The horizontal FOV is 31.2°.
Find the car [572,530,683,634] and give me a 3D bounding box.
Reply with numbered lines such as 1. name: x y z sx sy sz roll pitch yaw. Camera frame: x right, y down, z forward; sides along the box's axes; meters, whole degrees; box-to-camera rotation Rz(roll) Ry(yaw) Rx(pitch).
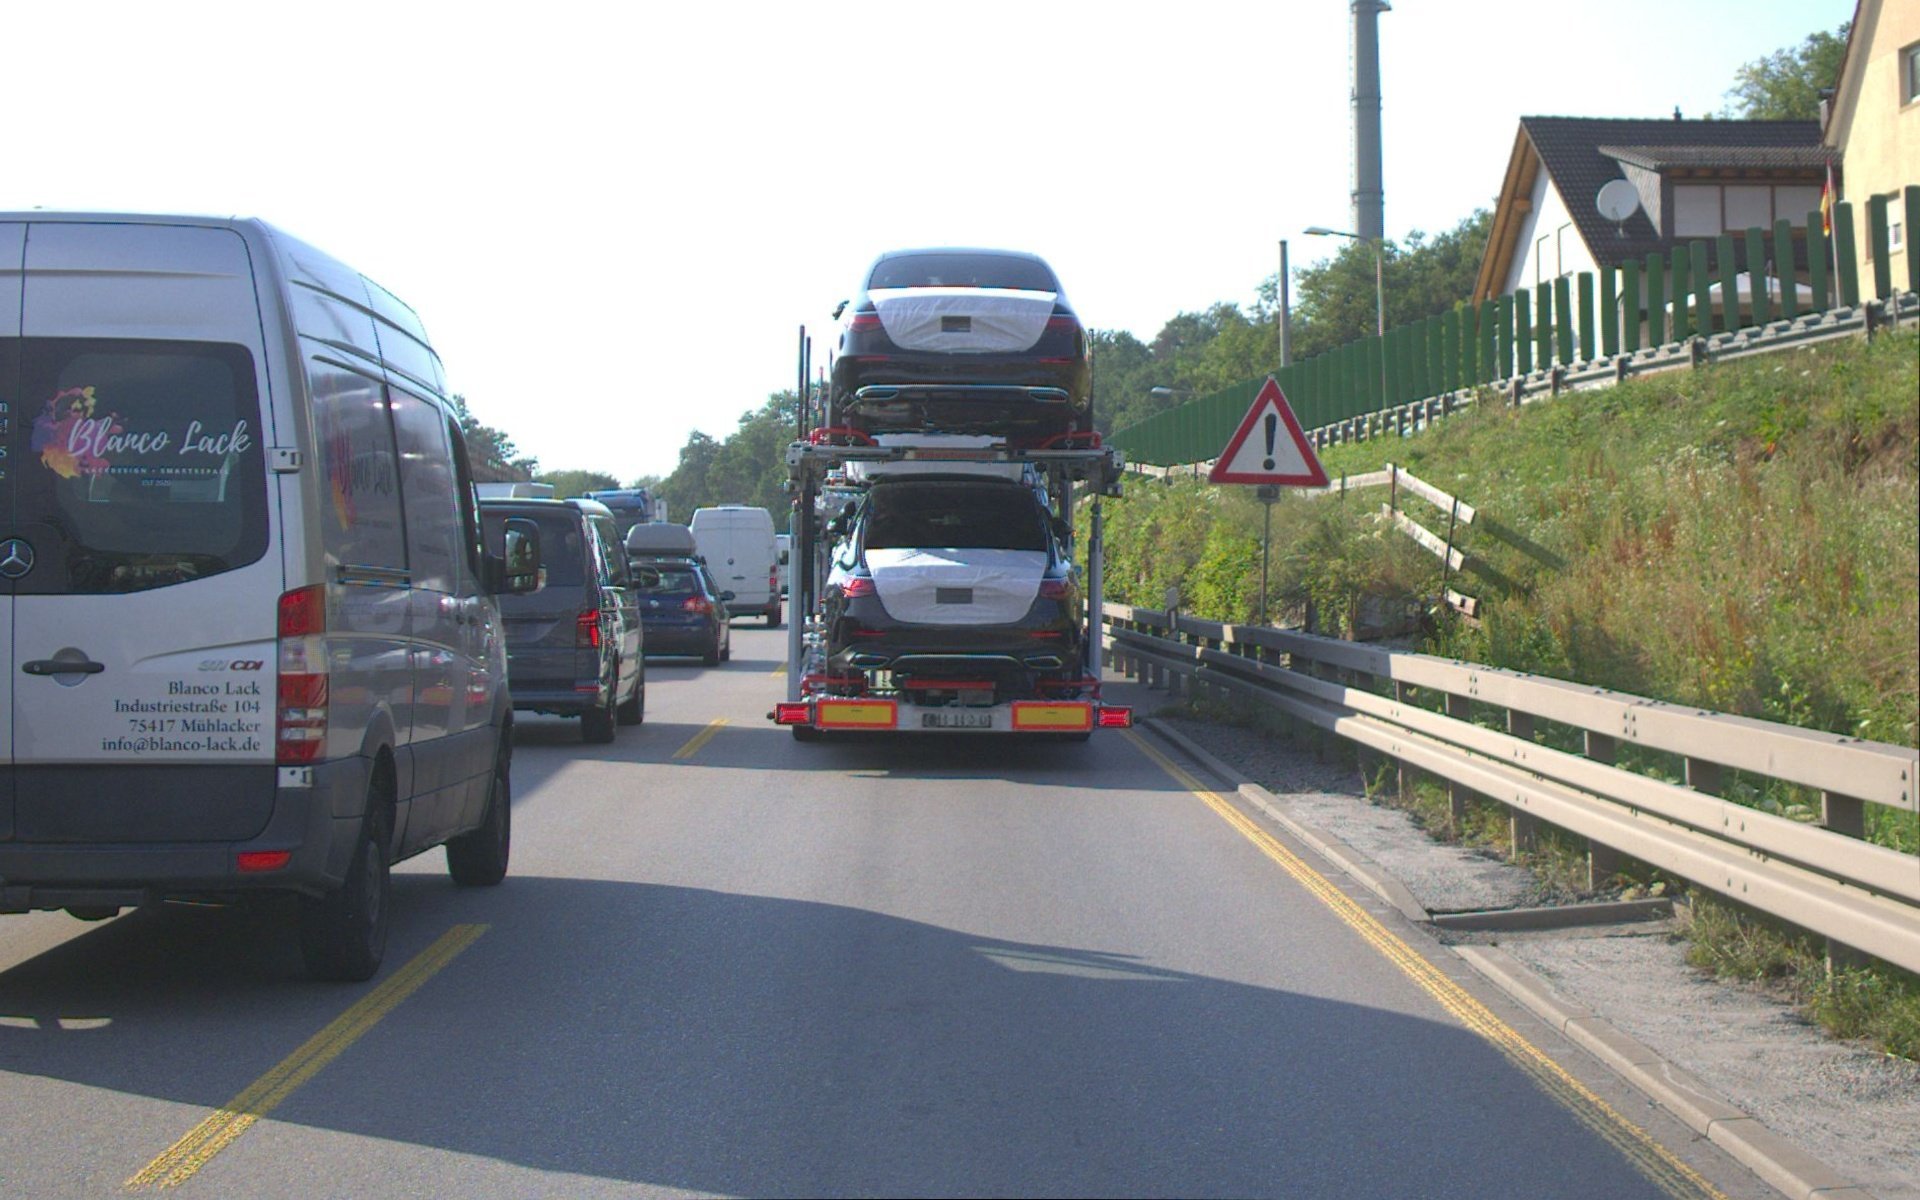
1. car: -8.227 -0.444 85.400 2.471 2.525 4.000 0 0 -1

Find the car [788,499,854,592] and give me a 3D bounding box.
1. car: -7.743 -3.000 190.368 3.444 5.018 9.654 1 1 -3

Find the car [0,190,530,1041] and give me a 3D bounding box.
1. car: -3.000 0.008 13.466 1.993 2.639 5.531 -1 1 -1

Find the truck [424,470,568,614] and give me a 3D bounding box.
1. truck: -11.859 -1.425 88.420 2.714 3.413 8.141 -2 0 -2

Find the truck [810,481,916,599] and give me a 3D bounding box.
1. truck: -3.890 -2.429 140.513 4.065 4.663 10.592 0 1 0

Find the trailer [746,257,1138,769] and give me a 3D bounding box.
1. trailer: -0.209 -0.622 31.504 2.682 3.523 15.289 1 0 -1

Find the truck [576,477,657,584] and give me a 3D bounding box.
1. truck: -13.929 -2.804 139.992 2.624 4.098 9.629 -3 1 -3

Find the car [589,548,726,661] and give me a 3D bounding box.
1. car: -4.252 0.032 48.774 1.725 1.517 3.974 1 1 -2

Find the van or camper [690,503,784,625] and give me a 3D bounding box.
1. van or camper: -4.876 -0.768 75.709 1.968 2.583 5.042 1 0 -3

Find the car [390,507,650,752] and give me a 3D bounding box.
1. car: -3.626 0.241 28.904 1.808 1.897 4.000 1 0 -2

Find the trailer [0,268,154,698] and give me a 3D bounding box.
1. trailer: -10.598 -1.128 32.772 2.764 4.127 14.026 1 1 -1

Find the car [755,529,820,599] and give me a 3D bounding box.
1. car: -5.254 -1.115 105.215 1.885 2.093 3.766 0 1 -1

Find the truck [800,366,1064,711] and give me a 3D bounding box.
1. truck: -0.332 -0.644 39.075 2.682 3.523 7.194 1 0 -1

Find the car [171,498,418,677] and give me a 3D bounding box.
1. car: -6.551 -0.113 34.302 1.640 1.639 4.689 1 0 -1
